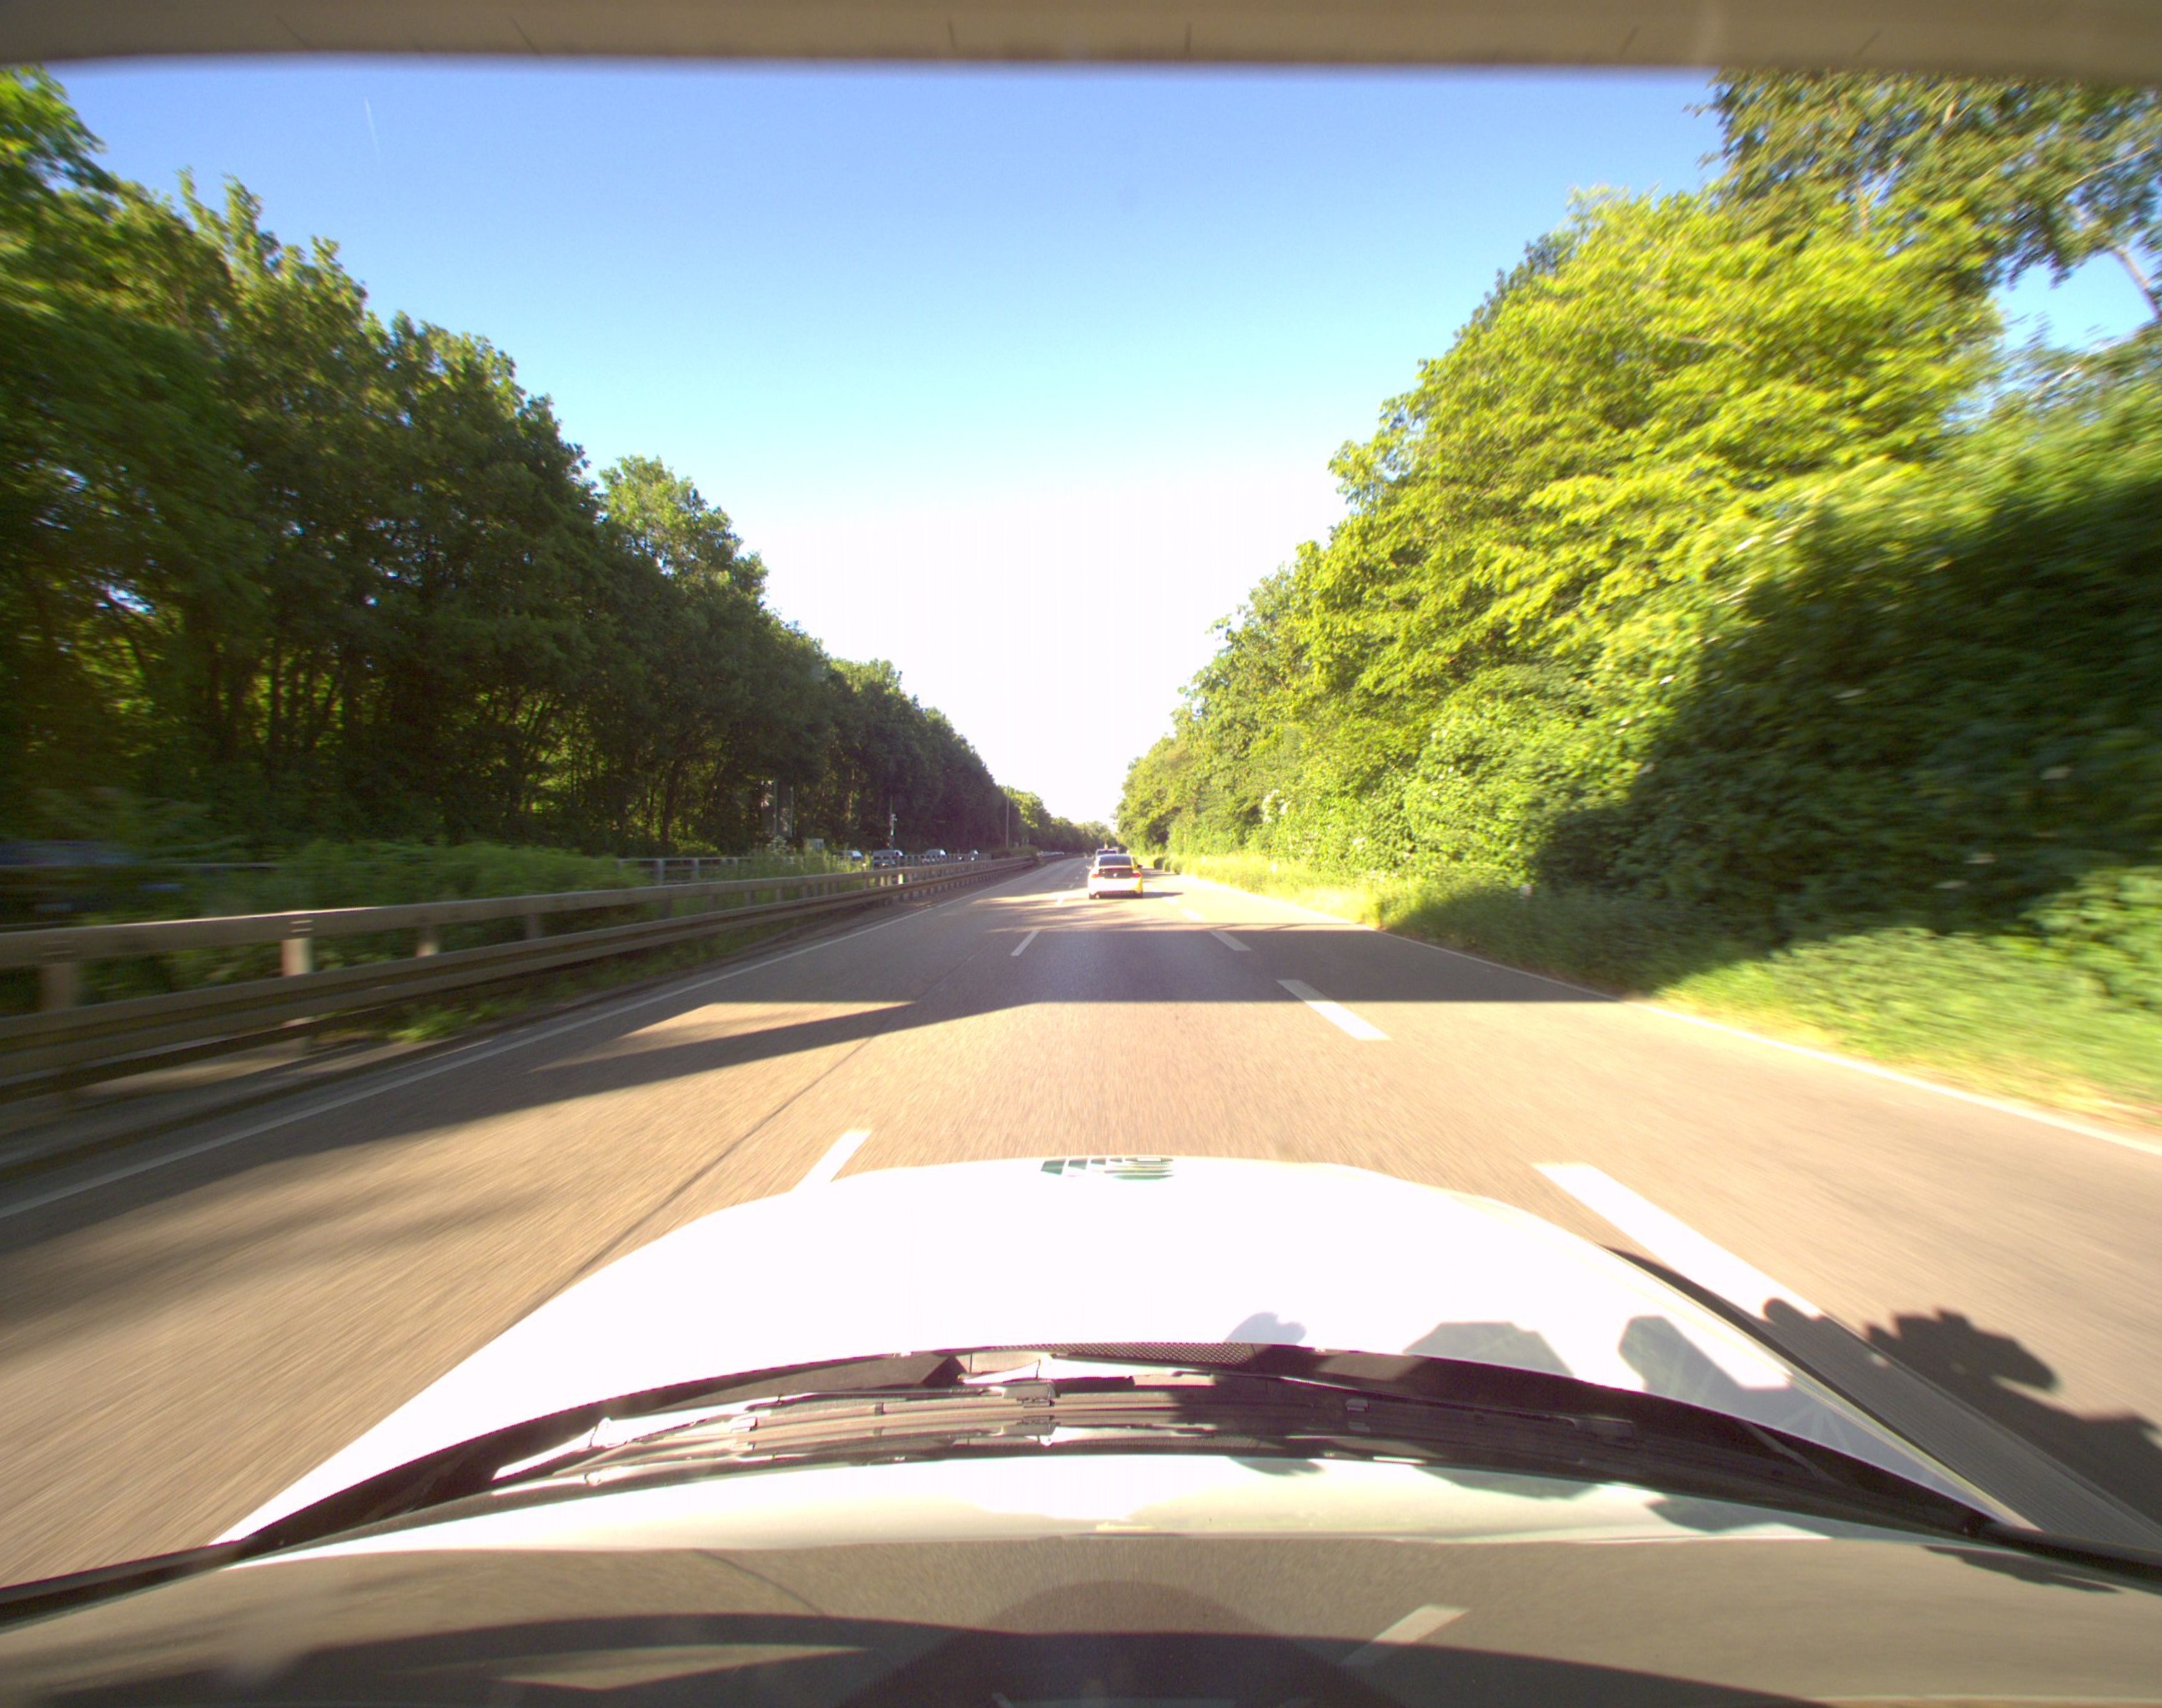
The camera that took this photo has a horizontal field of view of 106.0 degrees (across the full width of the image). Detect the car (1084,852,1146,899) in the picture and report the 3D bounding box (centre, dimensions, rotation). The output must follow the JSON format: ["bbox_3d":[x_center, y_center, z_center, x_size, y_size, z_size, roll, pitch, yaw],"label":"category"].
[{"bbox_3d":[1.213,0.701,27.644,1.930,1.508,3.427,0,0,5],"label":"car"}]

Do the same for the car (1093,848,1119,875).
[{"bbox_3d":[1.718,0.506,56.132,1.735,1.830,3.423,0,0,1],"label":"car"}]

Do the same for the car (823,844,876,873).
[{"bbox_3d":[-14.527,0.298,51.407,1.986,1.750,4.344,0,0,1],"label":"car"}]

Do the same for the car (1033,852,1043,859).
[{"bbox_3d":[-10.022,0.397,190.642,1.986,1.600,4.708,0,0,1],"label":"car"}]

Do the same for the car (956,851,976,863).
[{"bbox_3d":[-14.433,0.337,102.196,1.724,1.489,4.455,1,0,1],"label":"car"}]

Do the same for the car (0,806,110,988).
[{"bbox_3d":[-11.075,0.400,6.031,1.986,1.687,4.742,0,0,2],"label":"car"}]

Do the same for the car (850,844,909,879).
[{"bbox_3d":[-10.400,0.384,42.299,1.890,1.716,4.112,1,0,1],"label":"car"}]

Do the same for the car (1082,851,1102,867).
[{"bbox_3d":[1.128,0.492,82.119,1.932,1.545,3.423,0,0,1],"label":"car"}]

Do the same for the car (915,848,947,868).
[{"bbox_3d":[-13.471,0.350,73.423,1.986,1.750,4.374,0,0,1],"label":"car"}]

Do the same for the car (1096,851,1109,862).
[{"bbox_3d":[3.231,0.375,124.742,1.987,1.750,4.373,0,0,1],"label":"car"}]
